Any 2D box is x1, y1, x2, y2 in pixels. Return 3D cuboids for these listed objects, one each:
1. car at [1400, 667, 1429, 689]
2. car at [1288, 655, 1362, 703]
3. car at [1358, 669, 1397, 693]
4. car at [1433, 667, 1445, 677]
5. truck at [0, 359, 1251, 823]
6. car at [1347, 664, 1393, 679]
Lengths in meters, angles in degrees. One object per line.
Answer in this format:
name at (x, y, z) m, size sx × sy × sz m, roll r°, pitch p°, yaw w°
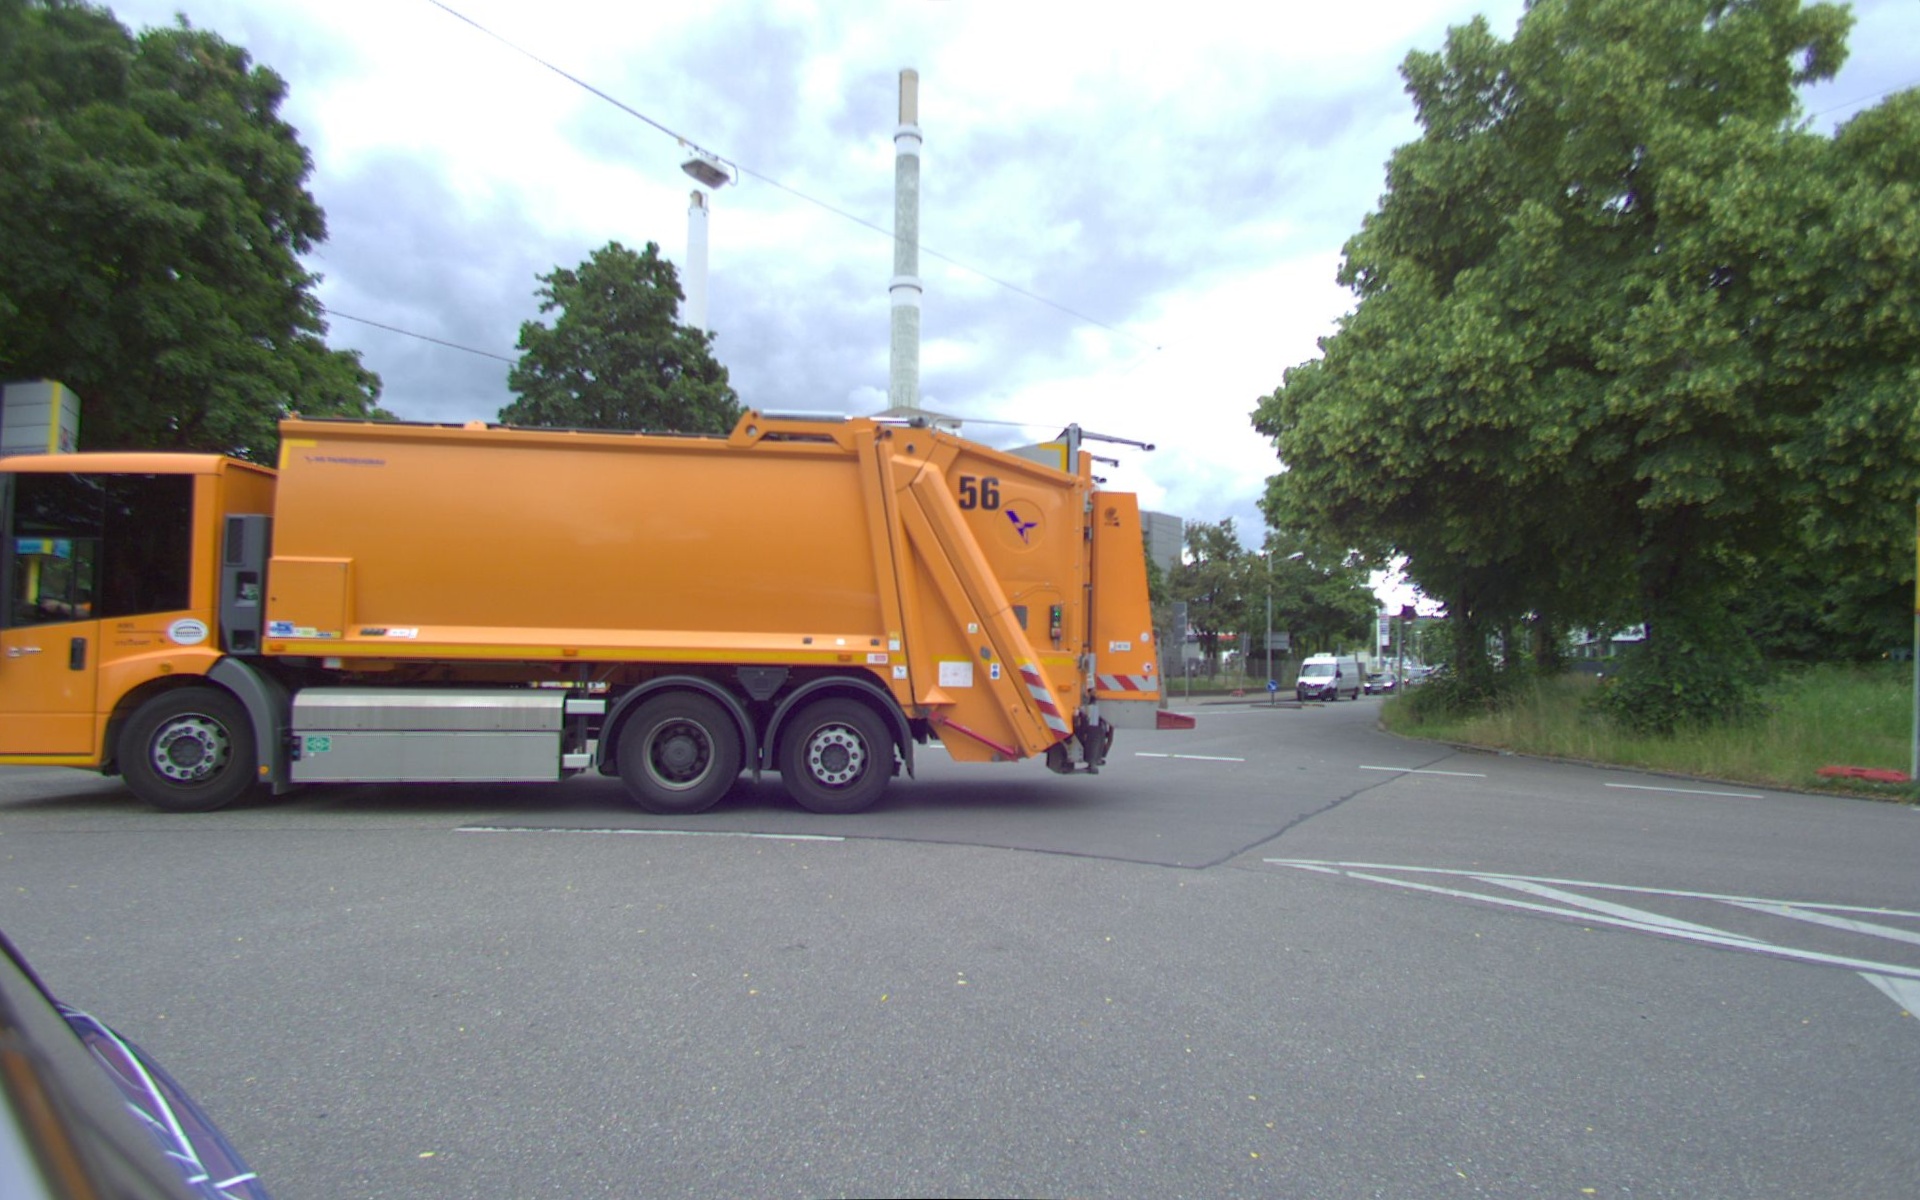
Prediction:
car at (35.018, 6.006, 78.060) m, size 1.784 × 1.653 × 4.407 m, roll -1°, pitch -4°, yaw 22°
car at (20.036, 4.271, 55.360) m, size 2.383 × 2.478 × 6.030 m, roll -3°, pitch -5°, yaw 33°
car at (27.570, 5.304, 66.730) m, size 1.858 × 1.524 × 4.396 m, roll -2°, pitch -4°, yaw 29°
car at (82.215, 12.325, 173.795) m, size 1.786 × 1.653 × 4.403 m, roll -2°, pitch -4°, yaw 25°
truck at (-2.844, -0.063, 9.506) m, size 10.263 × 3.554 × 2.801 m, roll -1°, pitch -3°, yaw -5°
car at (53.744, 9.394, 132.733) m, size 5.435 × 1.884 × 2.009 m, roll -2°, pitch -4°, yaw 26°
